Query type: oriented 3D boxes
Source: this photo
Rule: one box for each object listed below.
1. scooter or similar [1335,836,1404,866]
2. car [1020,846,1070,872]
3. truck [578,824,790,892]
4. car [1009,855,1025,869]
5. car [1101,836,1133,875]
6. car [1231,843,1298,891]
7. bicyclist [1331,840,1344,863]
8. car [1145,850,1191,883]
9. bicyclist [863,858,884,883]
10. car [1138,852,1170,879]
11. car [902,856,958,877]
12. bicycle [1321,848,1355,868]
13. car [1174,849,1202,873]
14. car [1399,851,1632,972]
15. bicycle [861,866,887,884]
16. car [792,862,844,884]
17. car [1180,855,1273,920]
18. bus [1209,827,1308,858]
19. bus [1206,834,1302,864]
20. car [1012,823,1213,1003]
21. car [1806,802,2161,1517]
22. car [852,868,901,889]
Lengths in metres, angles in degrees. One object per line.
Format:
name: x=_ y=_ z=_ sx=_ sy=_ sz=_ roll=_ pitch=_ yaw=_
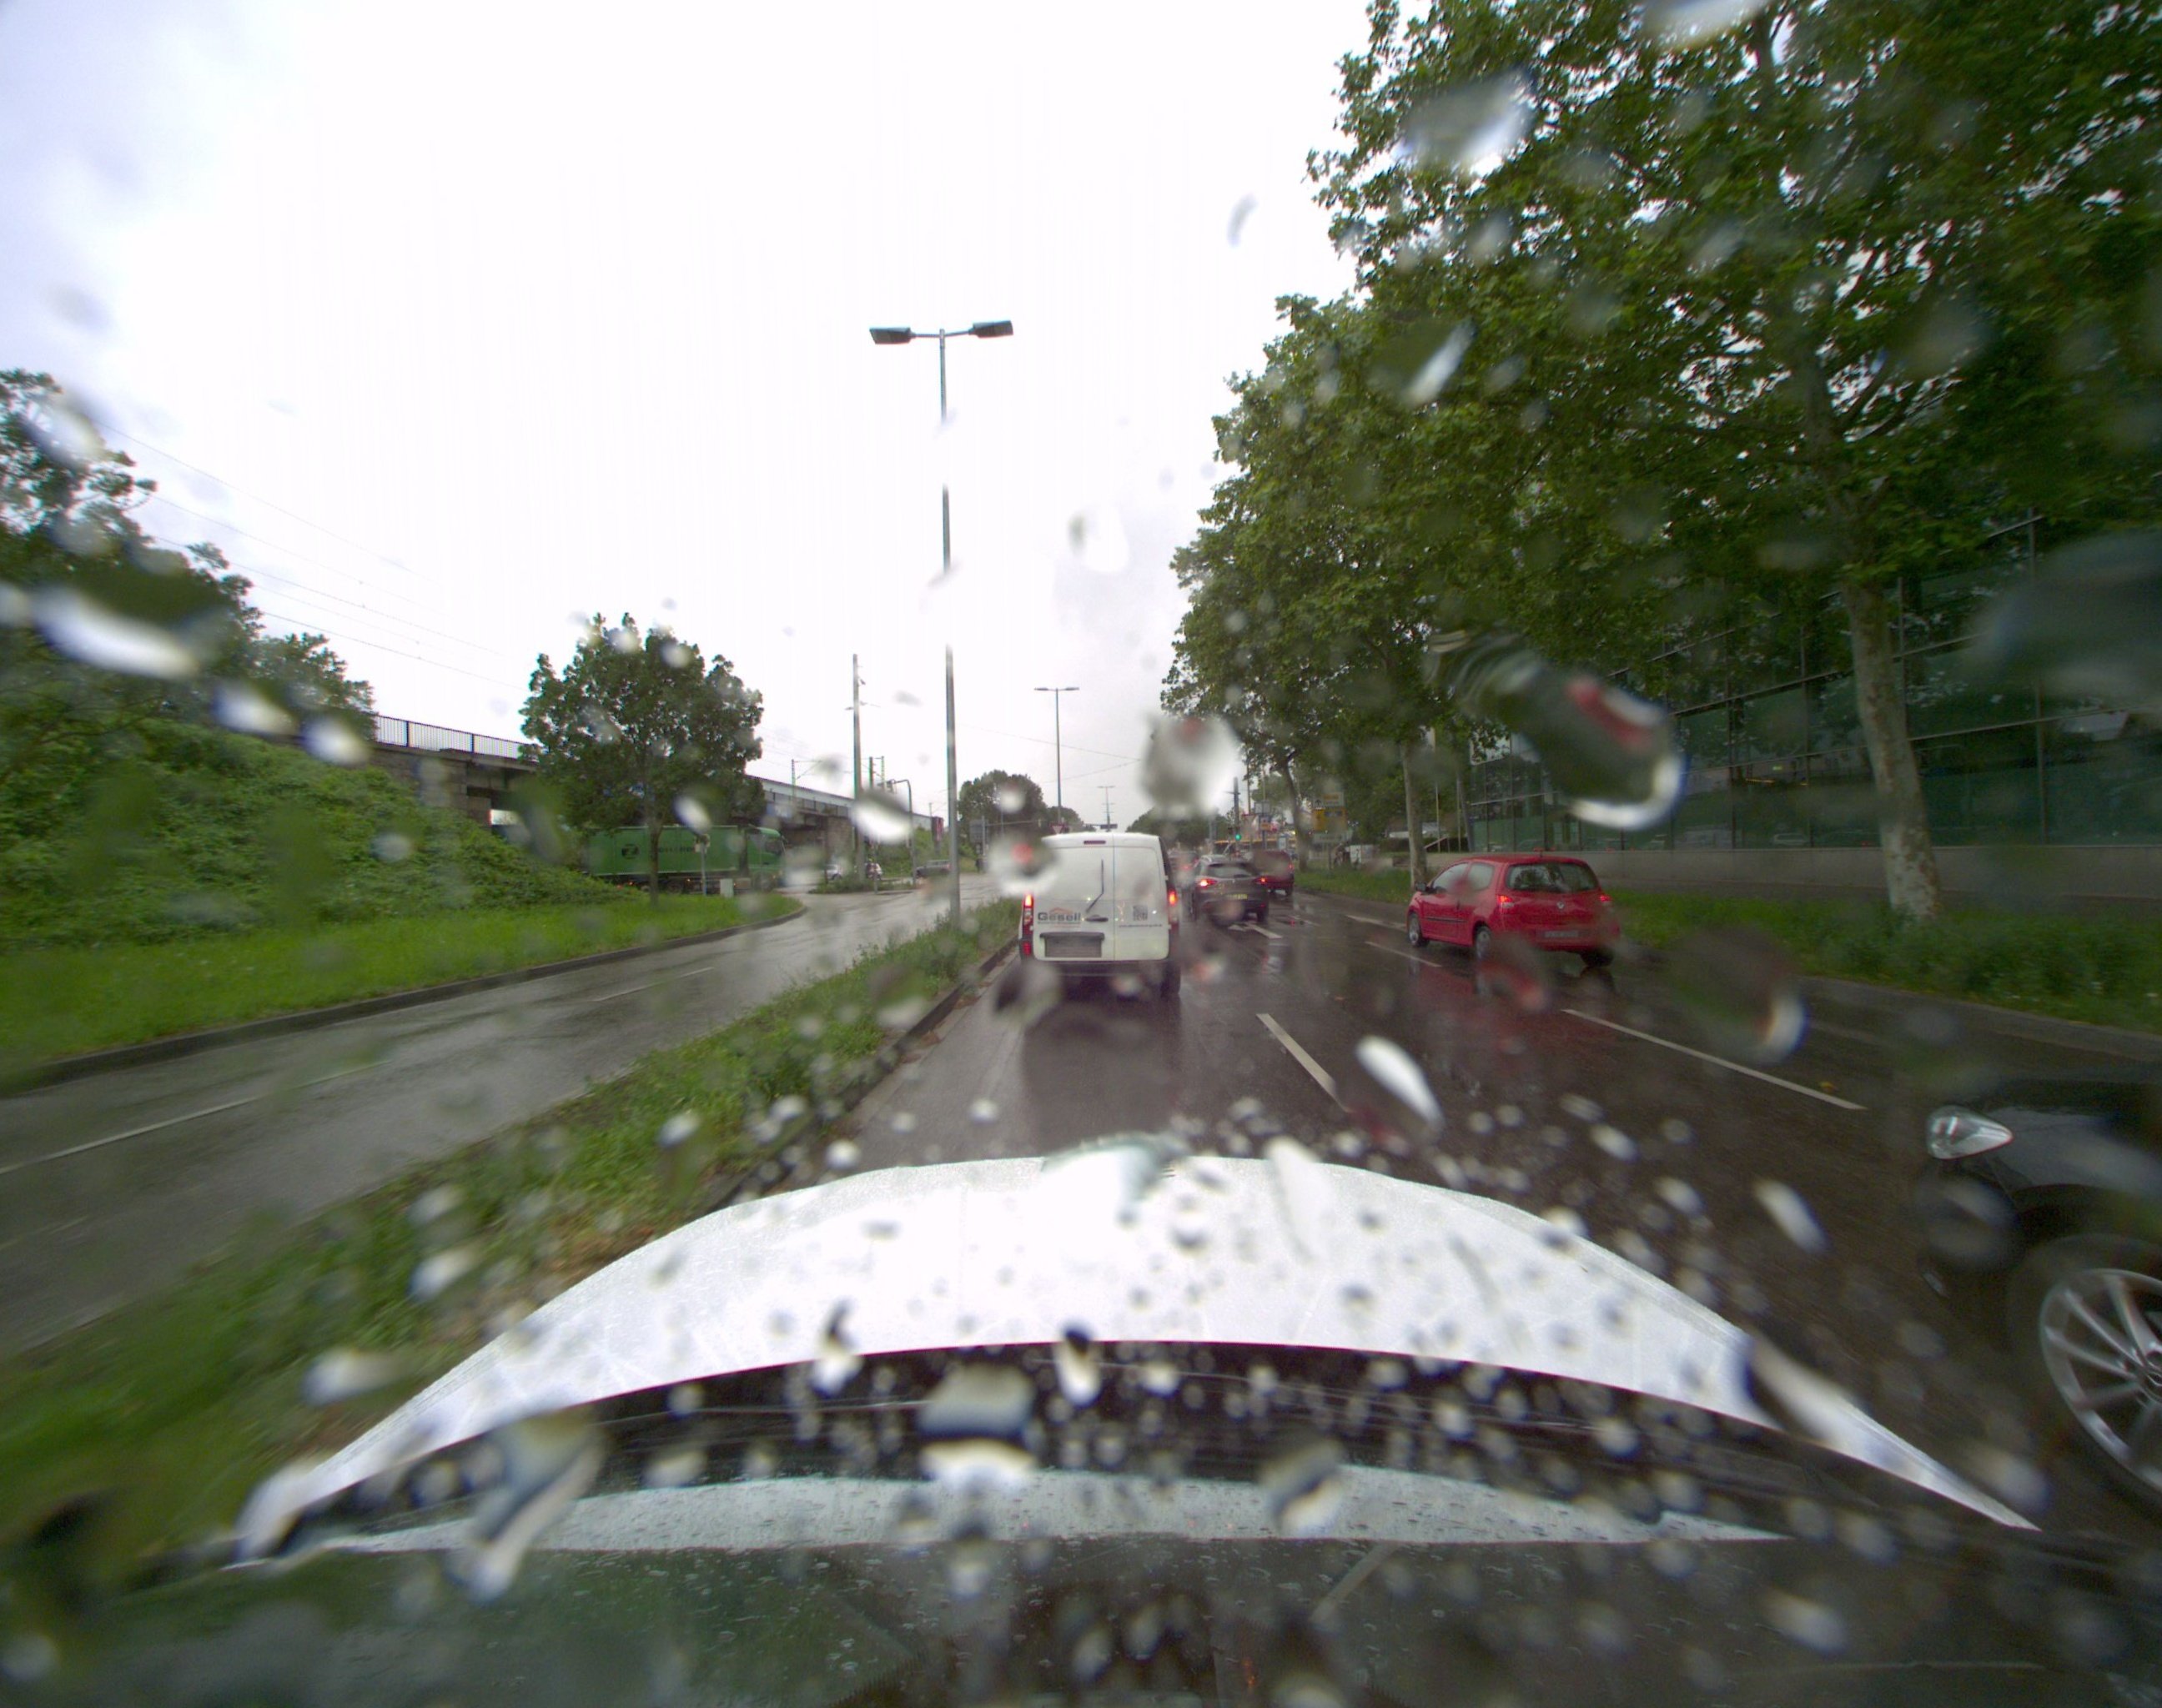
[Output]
scooter or similar: x=24.185 y=-0.215 z=68.528 sx=1.905 sy=2.446 sz=5.257 roll=-1 pitch=0 yaw=-38
car: x=-2.792 y=0.390 z=62.177 sx=2.008 sy=1.815 sz=3.958 roll=-2 pitch=1 yaw=-34
truck: x=-21.286 y=0.129 z=44.159 sx=10.104 sy=3.371 sz=2.322 roll=-1 pitch=0 yaw=-34
car: x=-7.693 y=0.971 z=98.596 sx=1.463 sy=1.559 sz=3.509 roll=-2 pitch=1 yaw=2
car: x=2.217 y=0.107 z=50.760 sx=1.847 sy=2.296 sz=3.845 roll=-1 pitch=0 yaw=2
car: x=6.868 y=0.480 z=30.798 sx=1.704 sy=1.694 sz=4.274 roll=0 pitch=-1 yaw=2
bicyclist: x=16.271 y=-0.155 z=51.640 sx=0.613 sy=1.419 sz=0.473 roll=-1 pitch=-1 yaw=43
car: x=4.038 y=0.545 z=38.222 sx=1.847 sy=1.460 sz=3.845 roll=-1 pitch=0 yaw=2
bicyclist: x=-12.209 y=0.966 z=47.885 sx=1.045 sy=1.450 sz=0.723 roll=-2 pitch=0 yaw=-23
car: x=4.809 y=0.731 z=53.967 sx=1.847 sy=1.649 sz=3.845 roll=-1 pitch=0 yaw=2
car: x=-12.380 y=1.033 z=67.042 sx=4.156 sy=1.651 sz=1.803 roll=-1 pitch=0 yaw=6
bicycle: x=16.350 y=0.257 z=51.709 sx=0.613 sy=1.186 sz=3.394 roll=-1 pitch=0 yaw=43
car: x=7.920 y=0.481 z=60.457 sx=1.701 sy=1.728 sz=3.845 roll=-1 pitch=0 yaw=2
car: x=5.977 y=0.697 z=11.650 sx=1.563 sy=1.462 sz=3.390 roll=-1 pitch=0 yaw=1
bicycle: x=-12.188 y=1.229 z=47.831 sx=1.045 sy=0.952 sz=2.867 roll=-2 pitch=1 yaw=-22
car: x=-21.215 y=1.557 z=65.926 sx=3.822 sy=1.543 sz=1.990 roll=-3 pitch=-1 yaw=-15
car: x=3.424 y=0.737 z=19.795 sx=1.677 sy=1.408 sz=3.844 roll=0 pitch=0 yaw=1
bus: x=22.195 y=-1.415 z=102.271 sx=11.924 sy=3.423 sz=2.317 roll=-2 pitch=0 yaw=2
bus: x=22.512 y=-0.608 z=106.235 sx=11.938 sy=3.423 sz=2.482 roll=-2 pitch=0 yaw=-2
car: x=0.402 y=0.584 z=10.499 sx=1.986 sy=1.776 sz=4.587 roll=-1 pitch=0 yaw=2
car: x=3.197 y=0.655 z=0.588 sx=1.741 sy=1.554 sz=4.091 roll=-1 pitch=0 yaw=1
car: x=-18.224 y=2.165 z=72.447 sx=4.001 sy=1.717 sz=1.986 roll=-2 pitch=-1 yaw=-20
